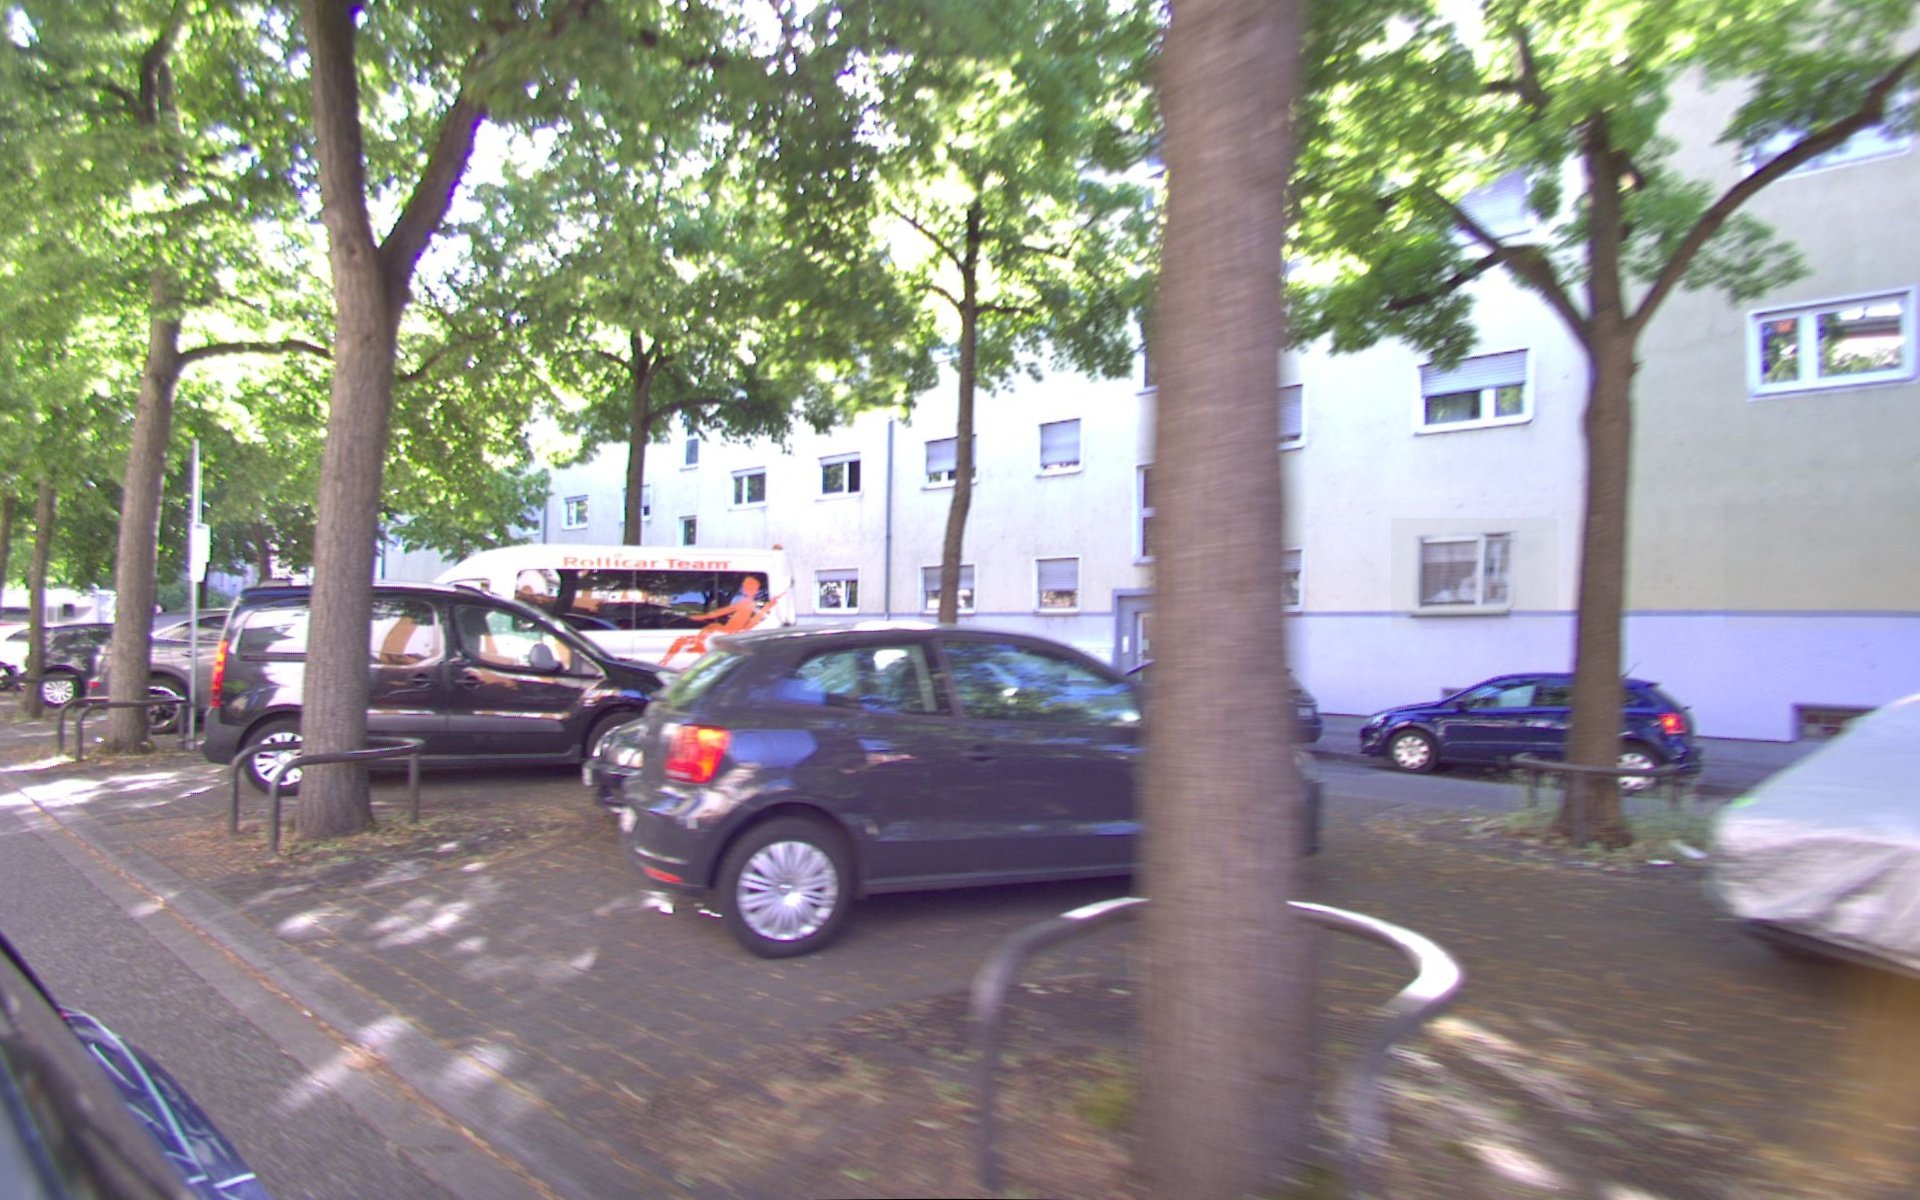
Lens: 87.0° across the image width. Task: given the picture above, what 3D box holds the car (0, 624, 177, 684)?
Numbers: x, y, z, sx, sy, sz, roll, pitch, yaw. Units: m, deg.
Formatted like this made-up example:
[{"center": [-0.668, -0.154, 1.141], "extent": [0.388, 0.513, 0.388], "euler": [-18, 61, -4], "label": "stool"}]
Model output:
[{"center": [-23.519, 1.381, 26.409], "extent": [4.550, 1.497, 1.766], "euler": [0, -1, -15], "label": "car"}]

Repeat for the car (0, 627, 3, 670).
[{"center": [-35.108, 1.584, 34.010], "extent": [3.952, 1.485, 1.631], "euler": [2, -3, -14], "label": "car"}]

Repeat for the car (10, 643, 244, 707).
[{"center": [-19.931, 1.777, 24.412], "extent": [3.932, 1.446, 1.802], "euler": [1, -2, -16], "label": "car"}]

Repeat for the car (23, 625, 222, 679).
[{"center": [-24.220, 1.504, 29.451], "extent": [4.045, 1.484, 1.877], "euler": [1, -2, -21], "label": "car"}]

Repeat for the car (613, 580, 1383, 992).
[{"center": [0.146, 0.773, 5.320], "extent": [3.673, 1.594, 1.641], "euler": [1, -2, -20], "label": "car"}]

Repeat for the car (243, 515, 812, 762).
[{"center": [-5.074, 0.563, 12.834], "extent": [5.982, 2.643, 2.462], "euler": [2, -3, -16], "label": "car"}]

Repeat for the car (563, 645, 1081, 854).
[{"center": [-1.053, 1.001, 7.586], "extent": [3.506, 1.257, 1.663], "euler": [2, -3, -20], "label": "car"}]

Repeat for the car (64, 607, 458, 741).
[{"center": [-9.444, 0.946, 14.079], "extent": [4.203, 1.654, 1.660], "euler": [0, -1, -17], "label": "car"}]

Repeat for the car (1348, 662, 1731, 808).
[{"center": [7.451, 1.619, 13.222], "extent": [4.140, 1.506, 1.756], "euler": [-1, -3, 38], "label": "car"}]

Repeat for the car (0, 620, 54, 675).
[{"center": [-30.557, 1.446, 30.793], "extent": [4.018, 1.665, 1.869], "euler": [0, -2, -23], "label": "car"}]

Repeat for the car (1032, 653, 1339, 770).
[{"center": [3.540, 1.679, 16.447], "extent": [4.588, 1.528, 1.754], "euler": [-2, -1, 40], "label": "car"}]

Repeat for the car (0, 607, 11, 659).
[{"center": [-50.263, 1.565, 48.712], "extent": [6.219, 2.578, 2.345], "euler": [1, -1, -17], "label": "car"}]

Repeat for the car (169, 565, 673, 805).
[{"center": [-4.664, 0.741, 9.427], "extent": [3.786, 1.903, 1.849], "euler": [1, -3, -15], "label": "car"}]

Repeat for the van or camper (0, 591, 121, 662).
[{"center": [-39.152, 1.104, 42.003], "extent": [6.197, 2.846, 2.415], "euler": [0, -2, -21], "label": "van or camper"}]

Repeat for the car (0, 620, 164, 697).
[{"center": [-19.885, 1.239, 22.000], "extent": [3.632, 1.608, 1.777], "euler": [0, -1, -14], "label": "car"}]

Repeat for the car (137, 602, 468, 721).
[{"center": [-10.745, 1.012, 16.968], "extent": [4.317, 1.791, 1.905], "euler": [2, -2, -22], "label": "car"}]

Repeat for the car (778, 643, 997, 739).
[{"center": [-1.571, 1.792, 20.844], "extent": [4.553, 1.736, 1.724], "euler": [-2, -4, 39], "label": "car"}]

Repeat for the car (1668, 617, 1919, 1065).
[{"center": [5.085, 0.866, 4.111], "extent": [4.031, 1.477, 1.873], "euler": [2, -1, -26], "label": "car"}]

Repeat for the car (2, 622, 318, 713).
[{"center": [-14.043, 1.164, 18.054], "extent": [4.038, 1.492, 1.737], "euler": [1, -2, -19], "label": "car"}]
